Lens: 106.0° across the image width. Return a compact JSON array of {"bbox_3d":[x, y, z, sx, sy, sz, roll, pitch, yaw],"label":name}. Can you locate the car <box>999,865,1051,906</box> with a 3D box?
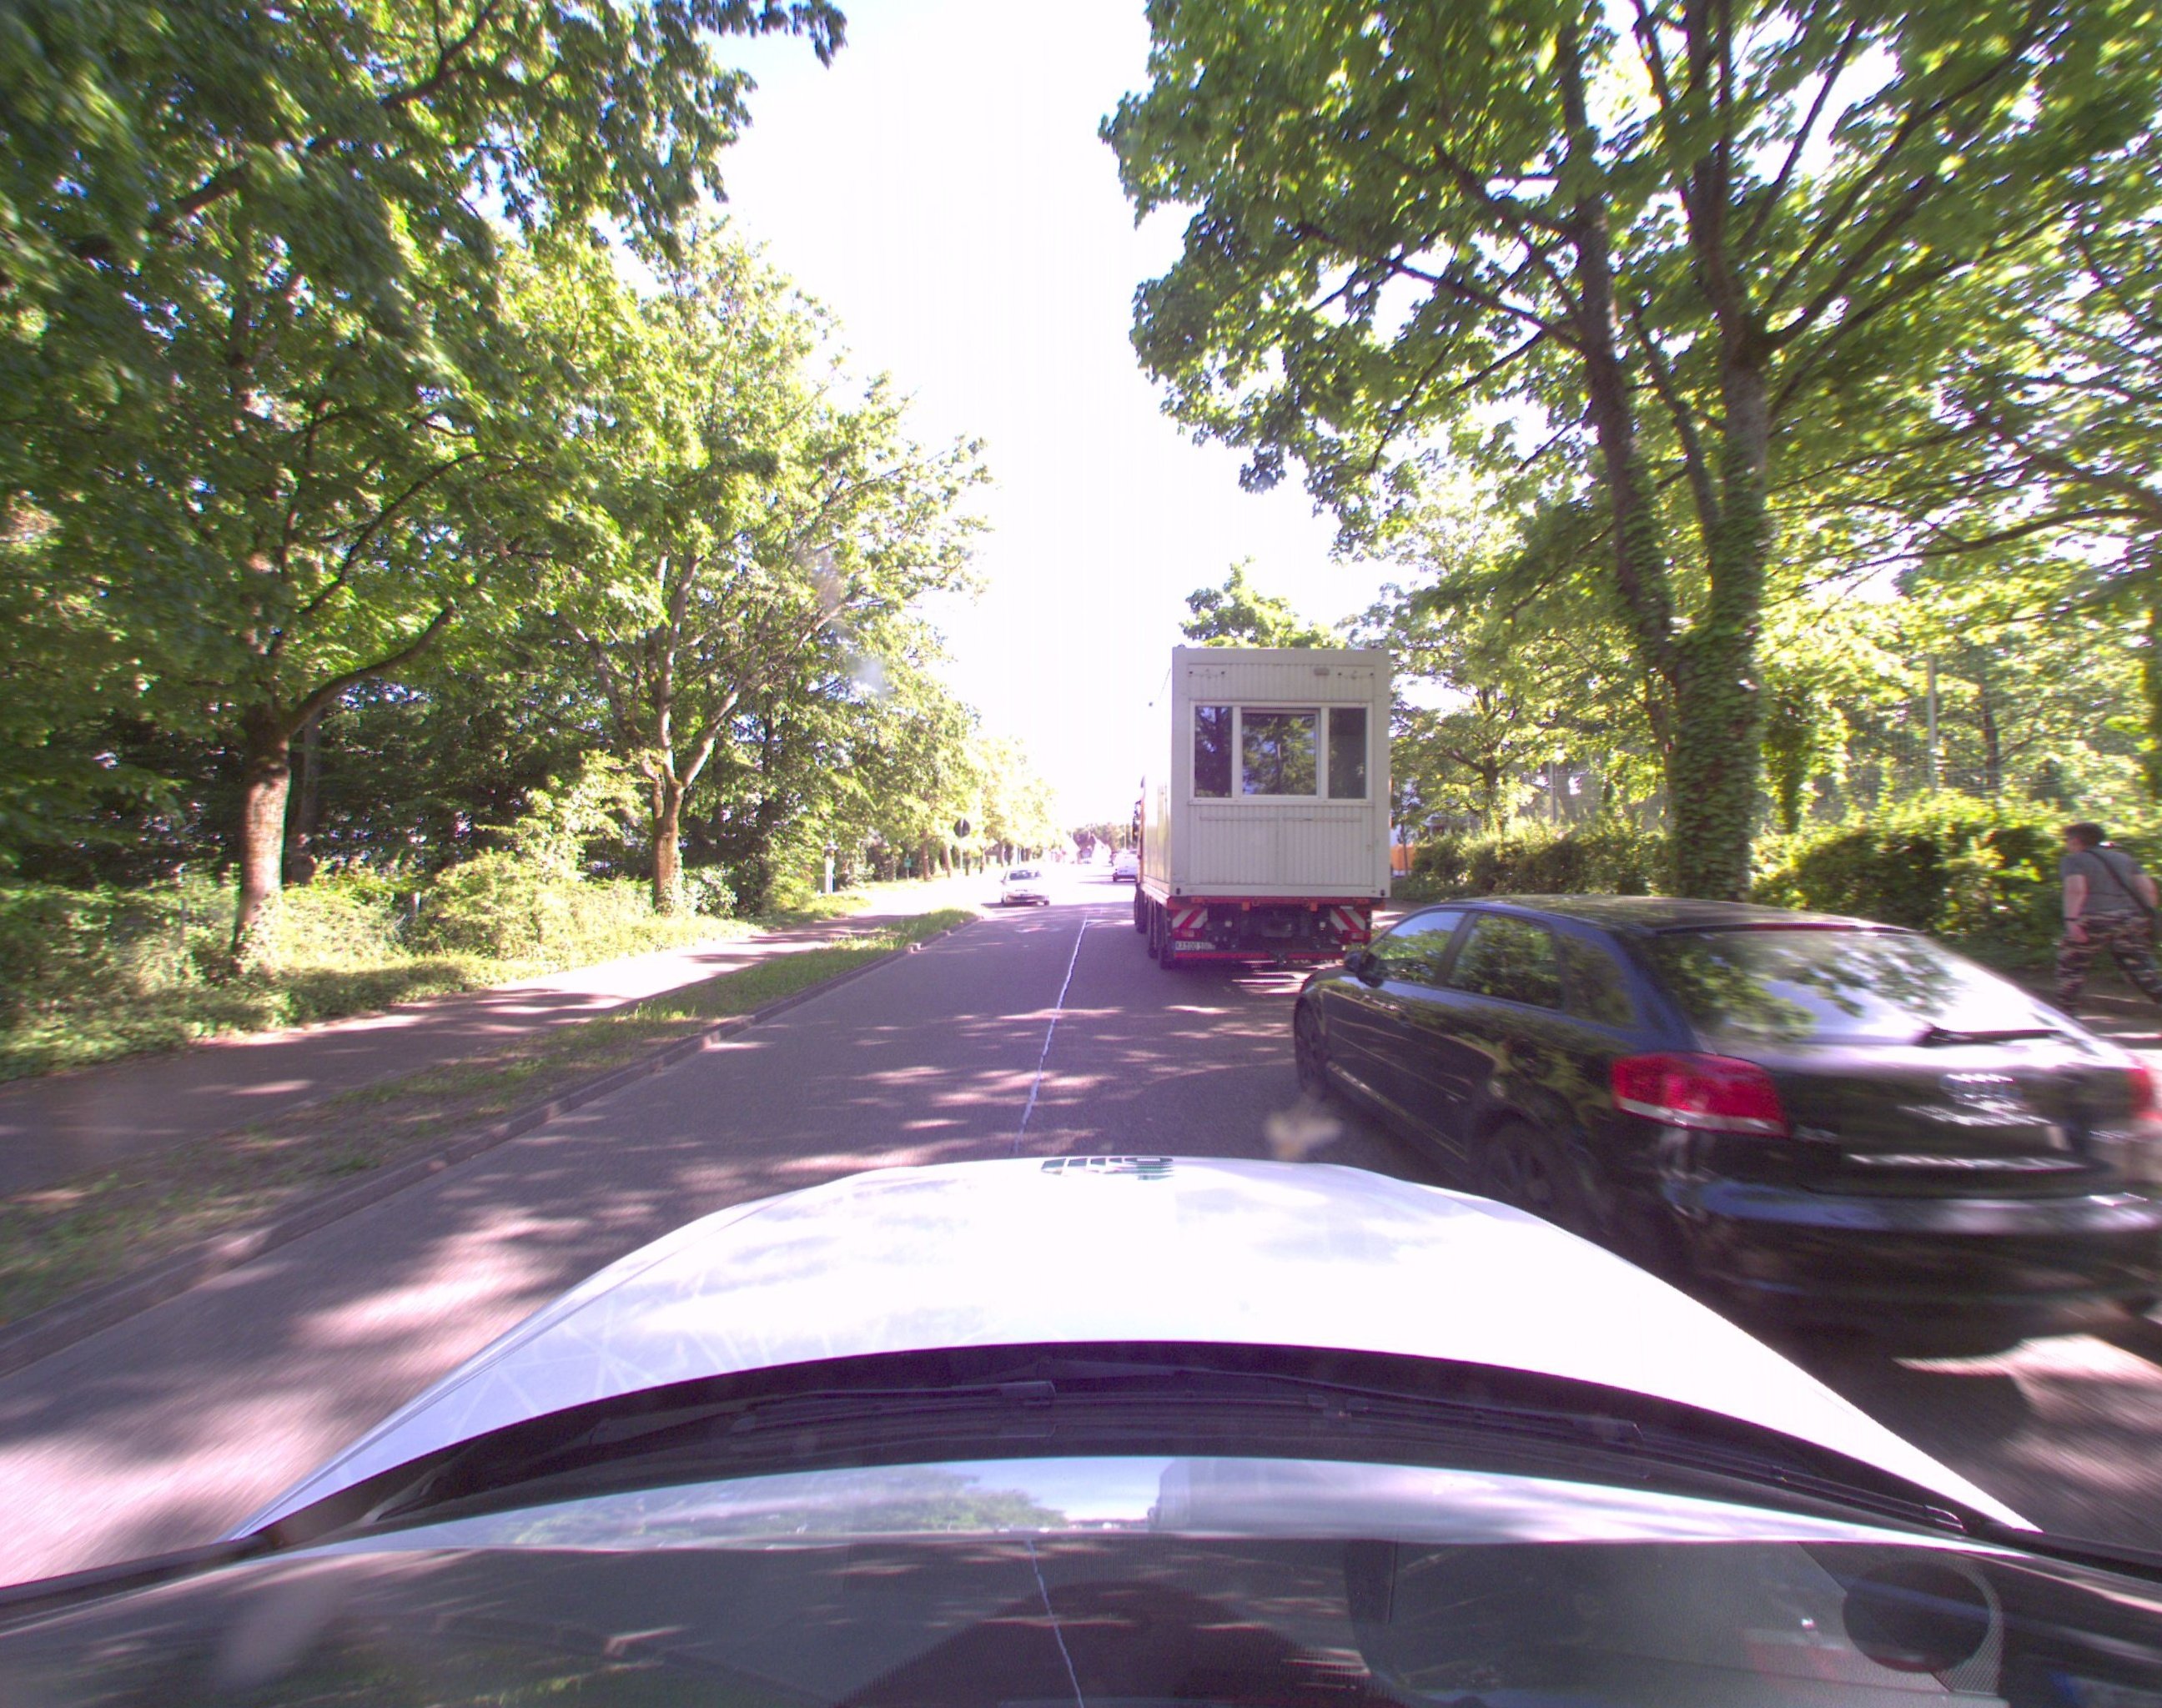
[{"bbox_3d":[-2.258,1.168,31.853,1.804,1.420,3.950,-3,0,-7],"label":"car"}]

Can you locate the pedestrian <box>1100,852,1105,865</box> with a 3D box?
[{"bbox_3d":[3.407,0.698,130.852,0.749,2.113,0.800,1,-1,4],"label":"pedestrian"}]

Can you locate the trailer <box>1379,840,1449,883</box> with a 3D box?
[{"bbox_3d":[17.241,0.388,42.241,2.934,2.116,1.610,-1,-1,-1],"label":"trailer"}]

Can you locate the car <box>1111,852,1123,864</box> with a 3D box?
[{"bbox_3d":[5.557,0.587,125.530,1.775,1.808,4.000,-2,-1,1],"label":"car"}]

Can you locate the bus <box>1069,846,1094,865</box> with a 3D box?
[{"bbox_3d":[0.171,0.330,157.173,4.047,3.349,9.810,-2,0,4],"label":"bus"}]

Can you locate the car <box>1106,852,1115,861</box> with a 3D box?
[{"bbox_3d":[6.391,0.598,178.334,1.775,1.808,4.000,-2,-1,1],"label":"car"}]

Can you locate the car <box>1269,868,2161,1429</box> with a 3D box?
[{"bbox_3d":[2.282,0.811,4.185,1.635,1.420,3.997,0,0,-1],"label":"car"}]

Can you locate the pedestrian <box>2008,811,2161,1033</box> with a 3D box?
[{"bbox_3d":[7.789,0.493,6.261,0.568,1.608,0.673,-1,0,10],"label":"pedestrian"}]

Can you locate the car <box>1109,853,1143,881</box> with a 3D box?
[{"bbox_3d":[3.052,0.872,55.742,1.941,1.843,3.997,-1,0,-2],"label":"car"}]

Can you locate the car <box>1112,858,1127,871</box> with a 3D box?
[{"bbox_3d":[5.087,1.367,107.845,1.775,1.652,4.000,-2,-1,1],"label":"car"}]

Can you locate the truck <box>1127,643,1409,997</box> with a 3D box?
[{"bbox_3d":[2.415,-0.375,14.396,2.763,3.996,10.349,0,0,1],"label":"truck"}]
